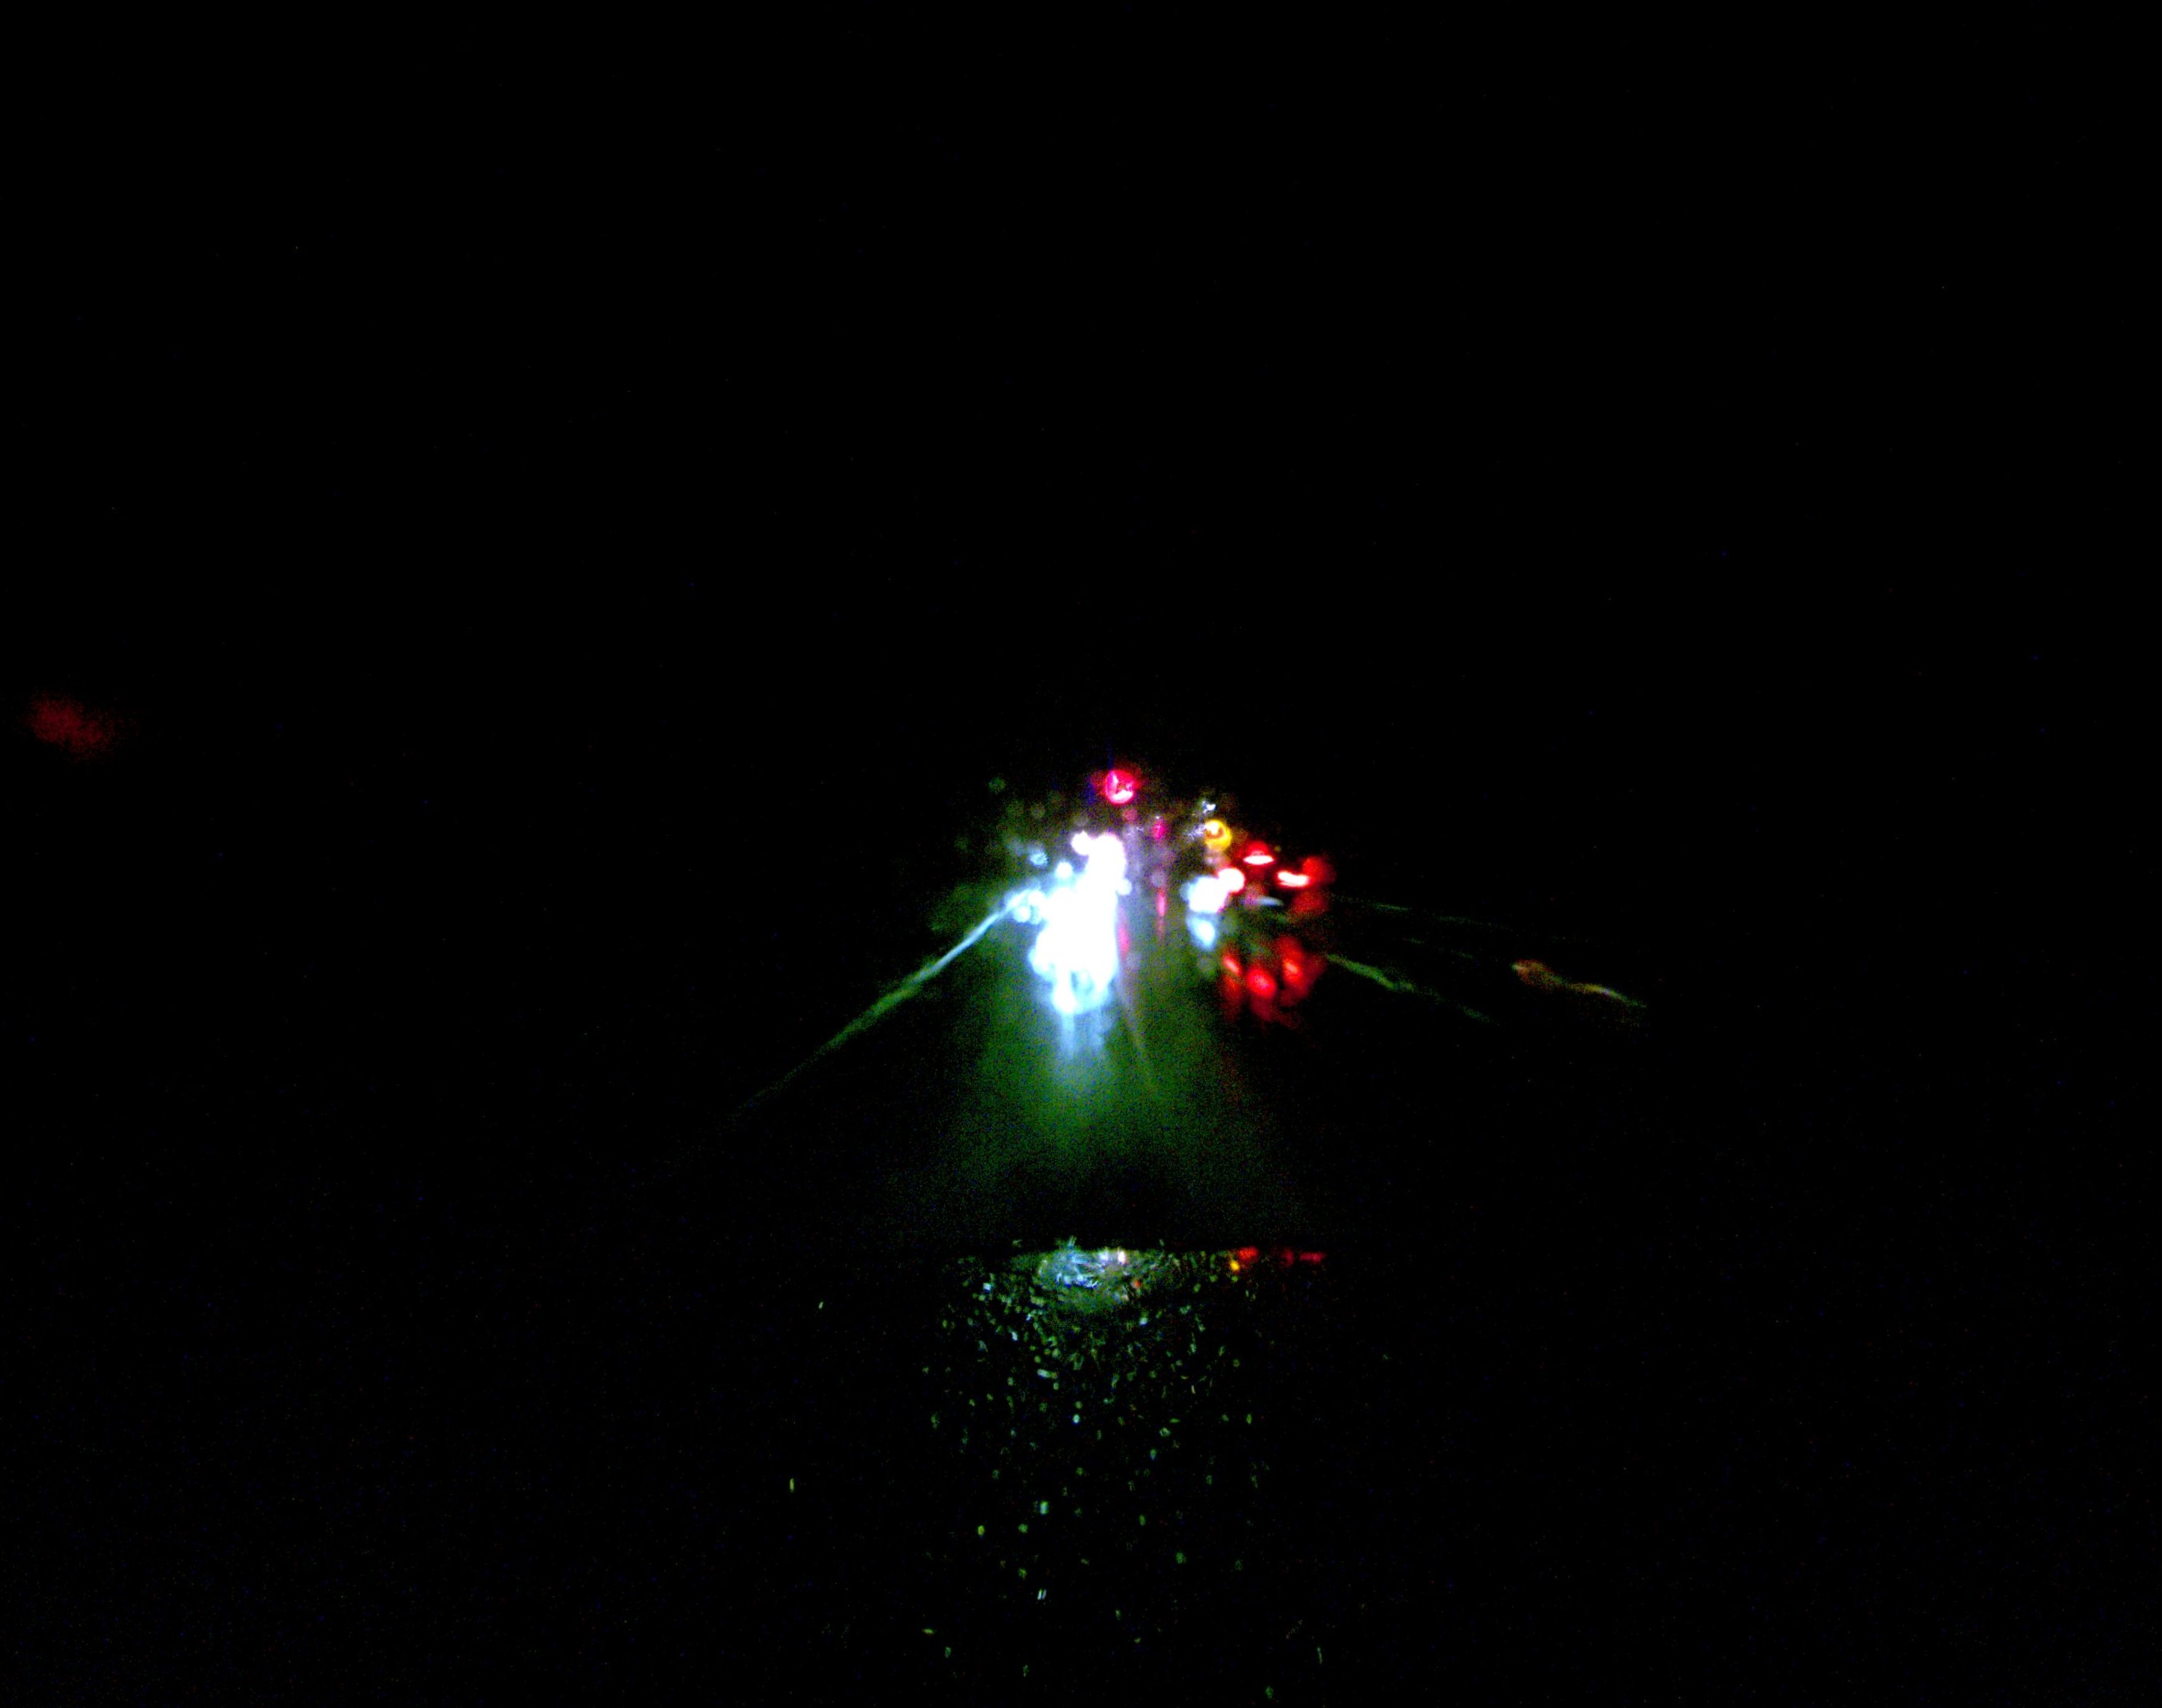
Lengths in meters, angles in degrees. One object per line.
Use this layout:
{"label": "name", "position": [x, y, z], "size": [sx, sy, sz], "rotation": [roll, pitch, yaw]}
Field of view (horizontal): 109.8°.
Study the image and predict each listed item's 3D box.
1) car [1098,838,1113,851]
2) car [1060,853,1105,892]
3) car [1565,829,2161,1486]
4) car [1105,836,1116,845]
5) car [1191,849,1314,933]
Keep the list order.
{"label": "car", "position": [3.217, -1.192, 100.867], "size": [1.979, 1.507, 4.207], "rotation": [-3, -1, 1]}
{"label": "car", "position": [0.093, 0.831, 35.798], "size": [1.893, 1.678, 4.339], "rotation": [-2, 0, 1]}
{"label": "car", "position": [3.540, 0.724, 2.099], "size": [1.893, 1.577, 4.000], "rotation": [0, 0, 1]}
{"label": "car", "position": [6.206, -2.820, 159.135], "size": [2.063, 1.668, 4.139], "rotation": [0, 1, 0]}
{"label": "car", "position": [3.675, 0.741, 17.023], "size": [1.893, 1.661, 4.000], "rotation": [0, 0, 1]}
